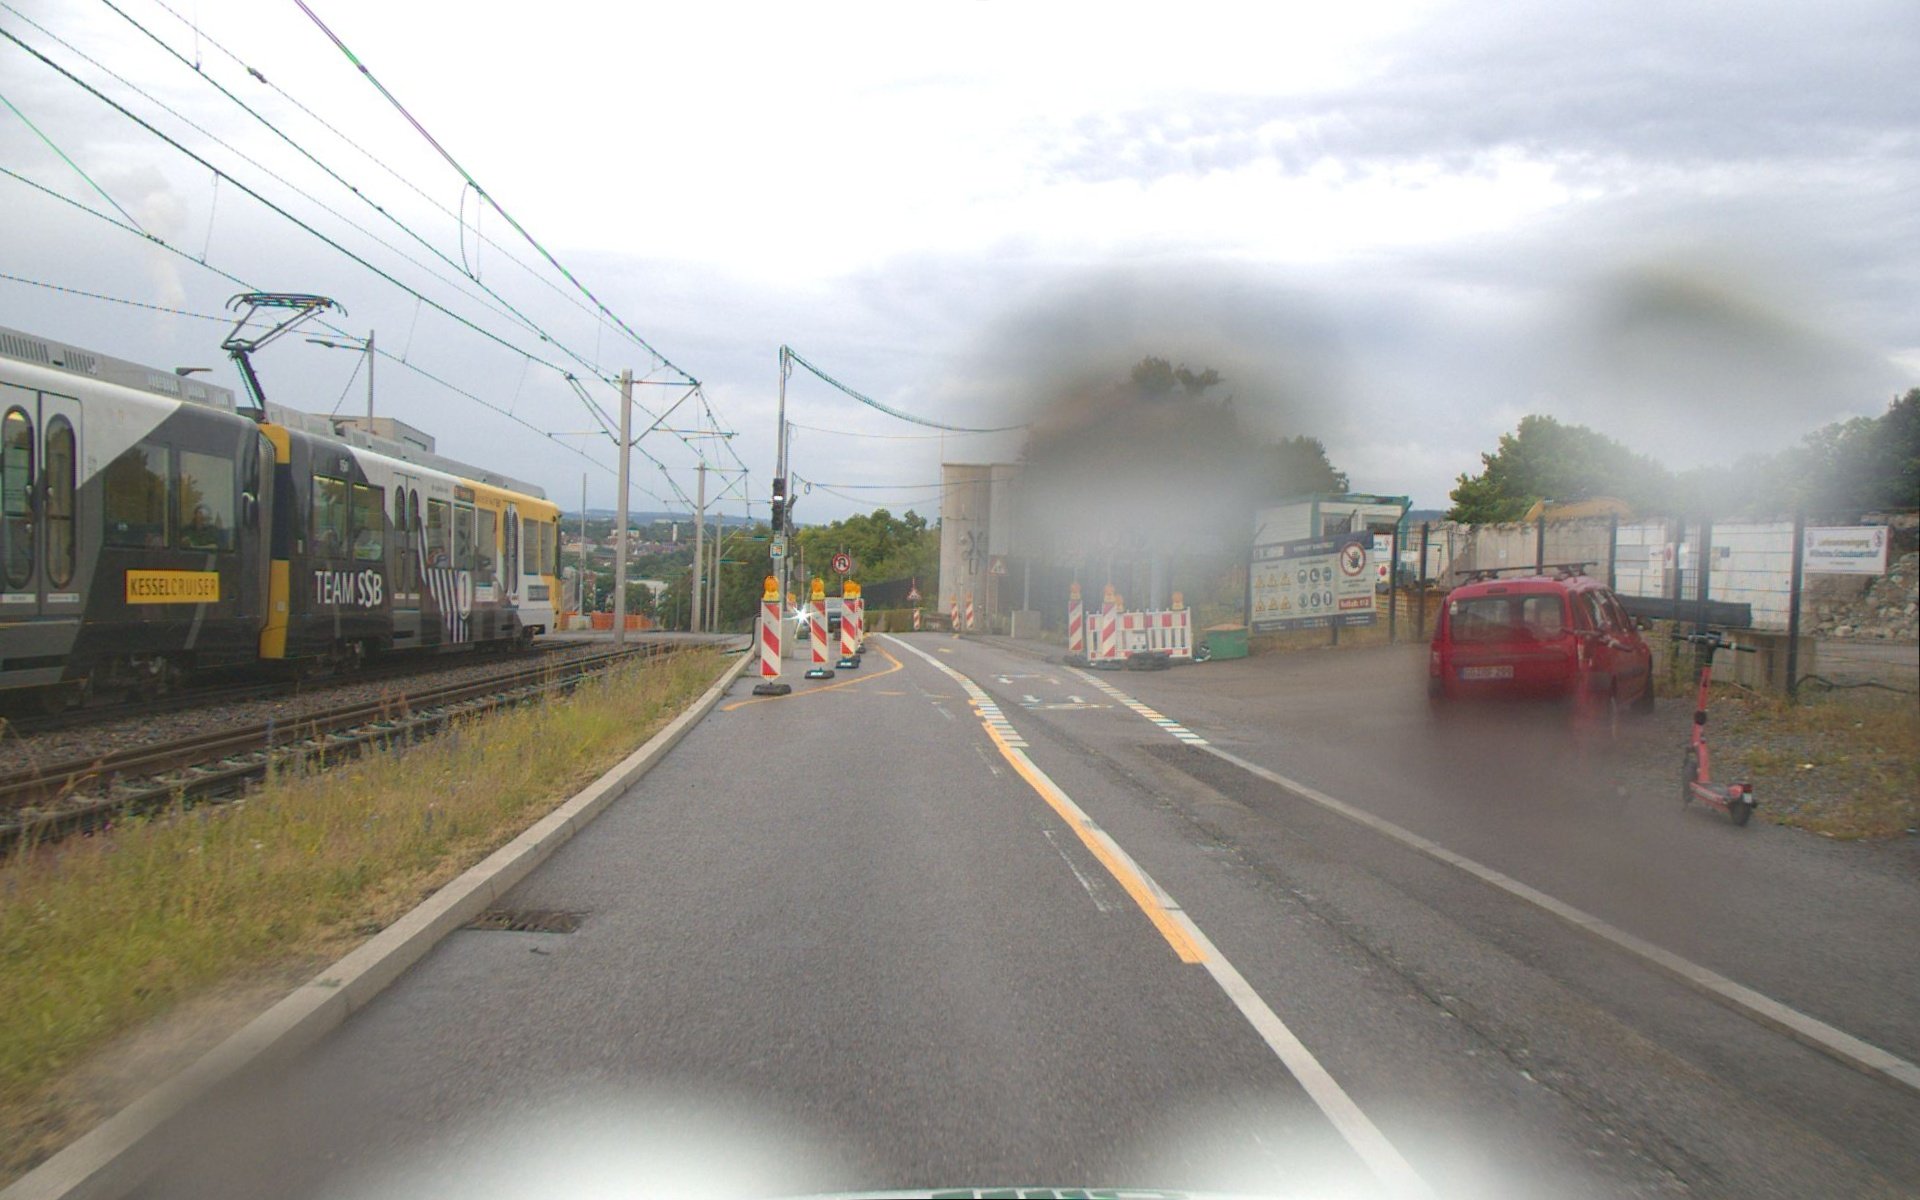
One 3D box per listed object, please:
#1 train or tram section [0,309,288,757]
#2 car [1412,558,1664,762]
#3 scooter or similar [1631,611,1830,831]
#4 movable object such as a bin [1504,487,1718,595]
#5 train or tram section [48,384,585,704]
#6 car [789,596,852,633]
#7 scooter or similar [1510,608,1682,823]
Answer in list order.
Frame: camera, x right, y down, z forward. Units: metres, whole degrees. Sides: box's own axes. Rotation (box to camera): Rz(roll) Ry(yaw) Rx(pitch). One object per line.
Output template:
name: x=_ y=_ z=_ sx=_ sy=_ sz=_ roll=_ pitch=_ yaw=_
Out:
train or tram section: x=-9.885 y=-0.609 z=11.185 sx=2.895 sy=3.953 sz=19.569 roll=2 pitch=0 yaw=-1
car: x=6.139 y=0.529 z=17.234 sx=1.785 sy=1.825 sz=4.402 roll=1 pitch=1 yaw=28
scooter or similar: x=5.326 y=0.781 z=11.561 sx=0.602 sy=1.375 sz=1.913 roll=1 pitch=0 yaw=4
movable object such as a bin: x=37.481 y=-3.368 z=95.564 sx=10.993 sy=6.100 sz=3.493 roll=0 pitch=0 yaw=6
train or tram section: x=-10.342 y=-0.778 z=30.622 sx=2.896 sy=3.953 sz=19.284 roll=2 pitch=0 yaw=-2
car: x=-6.668 y=0.662 z=78.905 sx=1.963 sy=1.707 sz=4.463 roll=0 pitch=0 yaw=-19
scooter or similar: x=4.507 y=0.764 z=11.855 sx=0.602 sy=1.375 sz=1.913 roll=1 pitch=0 yaw=4
